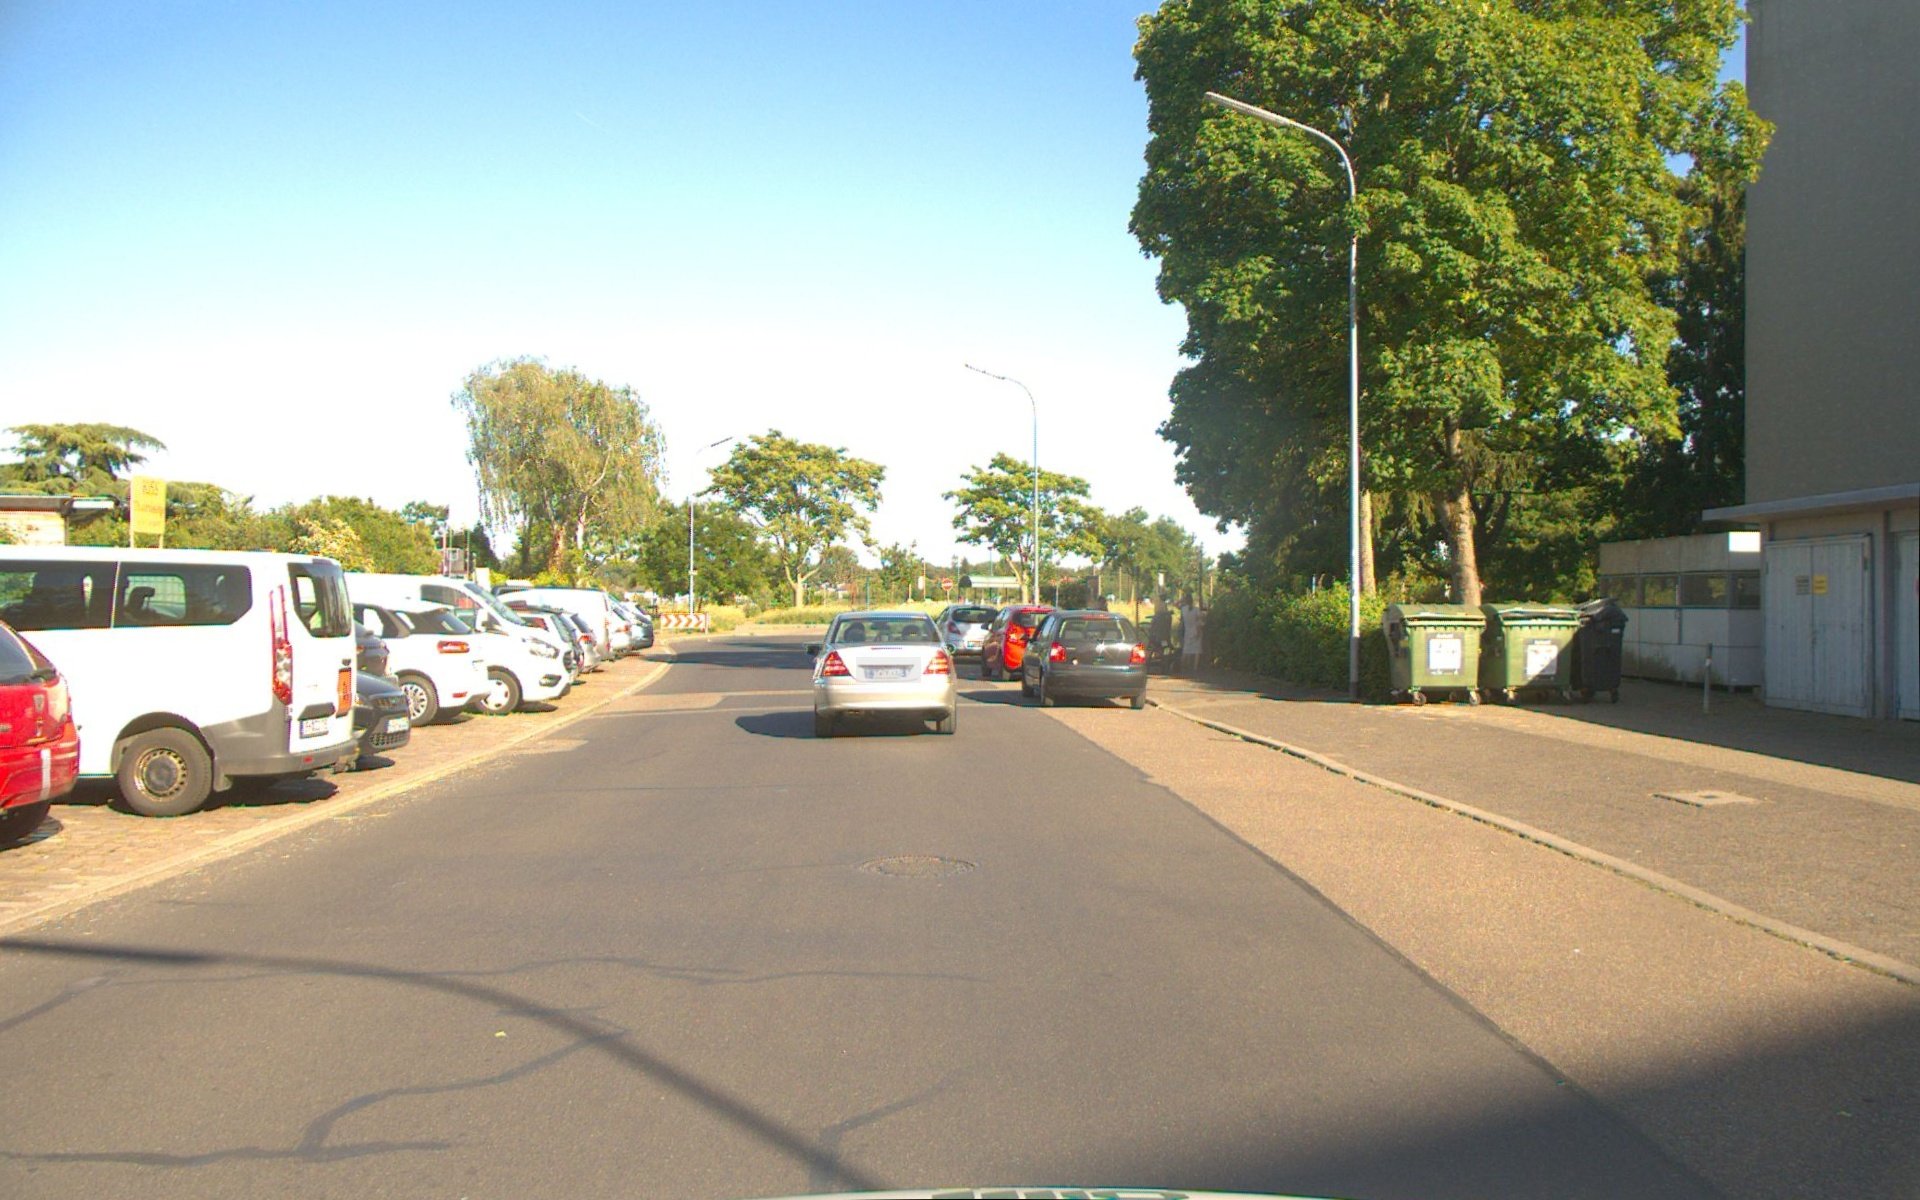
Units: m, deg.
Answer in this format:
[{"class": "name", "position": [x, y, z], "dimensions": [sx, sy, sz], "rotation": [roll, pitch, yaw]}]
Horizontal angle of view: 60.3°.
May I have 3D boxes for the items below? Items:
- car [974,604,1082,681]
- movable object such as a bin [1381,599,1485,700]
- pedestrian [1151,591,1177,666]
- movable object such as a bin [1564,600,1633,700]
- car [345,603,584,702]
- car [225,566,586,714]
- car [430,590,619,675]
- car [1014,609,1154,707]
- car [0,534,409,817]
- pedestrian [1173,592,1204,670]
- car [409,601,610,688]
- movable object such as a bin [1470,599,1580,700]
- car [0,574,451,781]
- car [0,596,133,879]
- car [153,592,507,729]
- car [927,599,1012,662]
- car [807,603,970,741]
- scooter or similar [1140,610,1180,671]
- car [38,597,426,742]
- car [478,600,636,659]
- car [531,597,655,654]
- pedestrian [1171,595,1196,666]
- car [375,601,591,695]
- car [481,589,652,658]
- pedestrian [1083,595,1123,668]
[{"class": "car", "position": [1.342, 0.847, 33.929], "dimensions": [1.546, 1.472, 3.781], "rotation": [1, -1, -8]}, {"class": "movable object such as a bin", "position": [6.858, 0.711, 24.010], "dimensions": [1.213, 1.428, 0.913], "rotation": [0, -1, -5]}, {"class": "pedestrian", "position": [4.407, 0.623, 35.702], "dimensions": [0.471, 1.592, 0.597], "rotation": [-2, -1, 4]}, {"class": "movable object such as a bin", "position": [9.302, 0.724, 24.115], "dimensions": [0.709, 1.440, 0.688], "rotation": [0, -1, -5]}, {"class": "car", "position": [-8.130, 0.857, 27.373], "dimensions": [3.444, 1.472, 1.635], "rotation": [2, -1, -4]}, {"class": "car", "position": [-8.158, 0.598, 24.760], "dimensions": [4.696, 1.954, 2.079], "rotation": [2, -1, -6]}, {"class": "car", "position": [-9.720, 0.719, 37.211], "dimensions": [3.904, 1.811, 1.921], "rotation": [1, 0, -10]}, {"class": "car", "position": [1.896, 0.882, 26.401], "dimensions": [1.615, 1.427, 3.878], "rotation": [-1, -1, -5]}, {"class": "car", "position": [-6.949, 0.542, 13.174], "dimensions": [4.390, 2.011, 1.999], "rotation": [2, -1, -3]}, {"class": "pedestrian", "position": [4.778, 0.645, 34.539], "dimensions": [0.476, 1.592, 0.468], "rotation": [-1, -2, -10]}, {"class": "car", "position": [-8.672, 0.854, 32.041], "dimensions": [3.444, 1.515, 1.635], "rotation": [2, -1, -4]}, {"class": "movable object such as a bin", "position": [8.233, 0.713, 24.130], "dimensions": [1.249, 1.440, 0.950], "rotation": [0, -1, -5]}, {"class": "car", "position": [-7.175, 0.699, 15.677], "dimensions": [4.068, 1.736, 1.883], "rotation": [2, -1, -3]}, {"class": "car", "position": [-7.266, 0.742, 10.014], "dimensions": [3.529, 1.594, 1.851], "rotation": [2, 0, -2]}, {"class": "car", "position": [-8.239, 0.785, 21.923], "dimensions": [3.907, 1.610, 1.883], "rotation": [2, -1, -3]}, {"class": "car", "position": [0.204, 0.802, 43.753], "dimensions": [1.699, 1.570, 3.781], "rotation": [1, -1, -8]}, {"class": "car", "position": [-0.852, 0.801, 20.469], "dimensions": [1.779, 1.489, 4.359], "rotation": [1, 0, -2]}, {"class": "scooter or similar", "position": [4.180, 0.837, 34.612], "dimensions": [0.611, 1.249, 0.904], "rotation": [-1, -1, -6]}, {"class": "car", "position": [-8.485, 0.800, 19.556], "dimensions": [3.692, 1.513, 1.883], "rotation": [2, -1, -2]}, {"class": "car", "position": [-11.232, 0.823, 46.370], "dimensions": [4.059, 1.519, 1.922], "rotation": [2, -1, -8]}, {"class": "car", "position": [-11.425, 0.793, 51.670], "dimensions": [3.543, 1.635, 1.730], "rotation": [2, -1, -7]}, {"class": "pedestrian", "position": [4.884, 0.676, 36.171], "dimensions": [0.355, 1.529, 0.500], "rotation": [-1, -2, -9]}, {"class": "car", "position": [-8.427, 0.844, 29.467], "dimensions": [3.448, 1.515, 1.634], "rotation": [2, 1, -8]}, {"class": "car", "position": [-11.543, 0.698, 48.870], "dimensions": [4.784, 1.949, 1.995], "rotation": [1, -1, -11]}, {"class": "pedestrian", "position": [3.214, 0.703, 37.171], "dimensions": [0.772, 1.592, 0.569], "rotation": [2, -1, -7]}]
